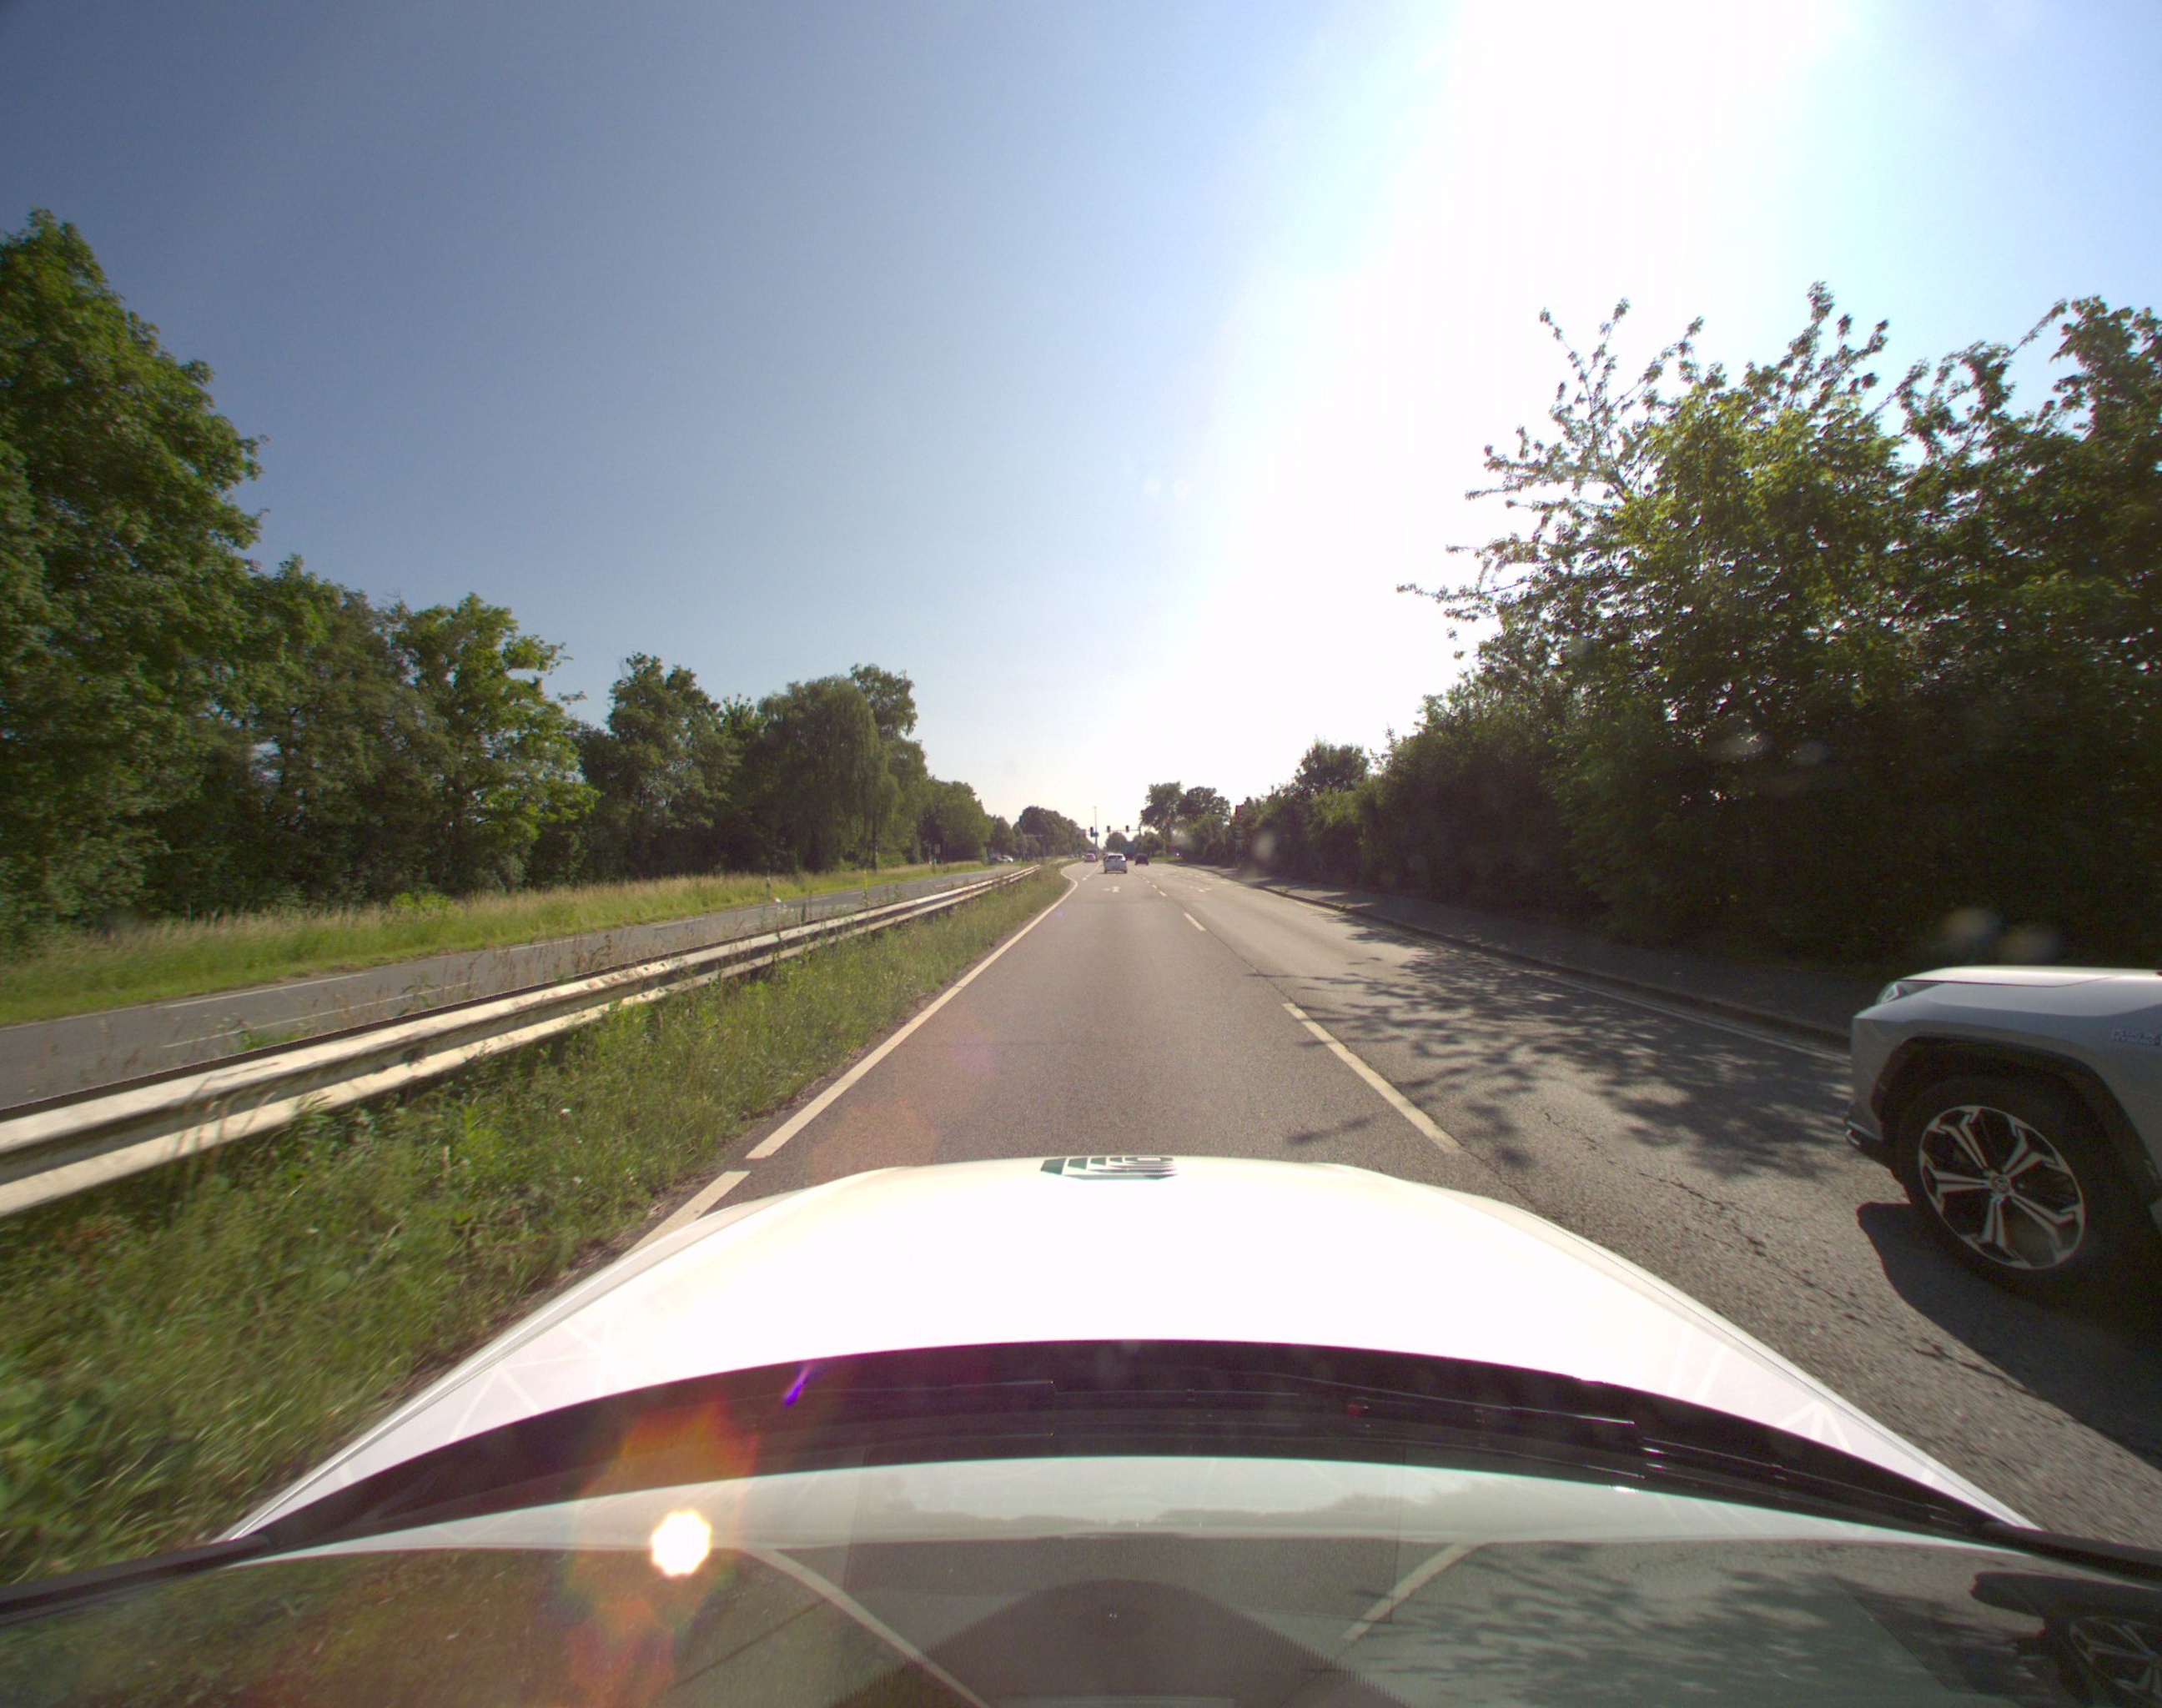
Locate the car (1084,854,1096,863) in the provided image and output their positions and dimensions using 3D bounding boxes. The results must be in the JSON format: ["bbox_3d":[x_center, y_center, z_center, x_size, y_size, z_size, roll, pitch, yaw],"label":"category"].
[{"bbox_3d":[1.495,0.700,137.369,1.804,1.464,4.976,0,0,4],"label":"car"}]

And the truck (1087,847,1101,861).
[{"bbox_3d":[2.357,-0.065,145.435,2.364,2.389,6.045,0,0,3],"label":"truck"}]

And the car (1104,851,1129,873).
[{"bbox_3d":[2.645,0.552,60.862,1.791,1.552,4.003,-1,0,3],"label":"car"}]

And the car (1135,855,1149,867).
[{"bbox_3d":[7.564,0.872,101.742,1.566,1.414,3.279,-1,-1,2],"label":"car"}]

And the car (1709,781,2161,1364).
[{"bbox_3d":[4.036,0.630,1.765,1.894,1.680,4.686,0,0,2],"label":"car"}]

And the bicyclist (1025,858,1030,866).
[{"bbox_3d":[-10.468,1.586,158.155,0.842,1.517,0.748,-1,0,7],"label":"bicyclist"}]

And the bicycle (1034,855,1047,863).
[{"bbox_3d":[-9.295,1.114,188.845,2.765,1.670,1.143,-2,0,29],"label":"bicycle"}]

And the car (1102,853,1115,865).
[{"bbox_3d":[3.308,0.630,98.381,1.566,1.415,3.278,0,-1,2],"label":"car"}]

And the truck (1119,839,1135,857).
[{"bbox_3d":[8.956,-1.138,160.882,2.880,3.428,9.173,-2,0,2],"label":"truck"}]
